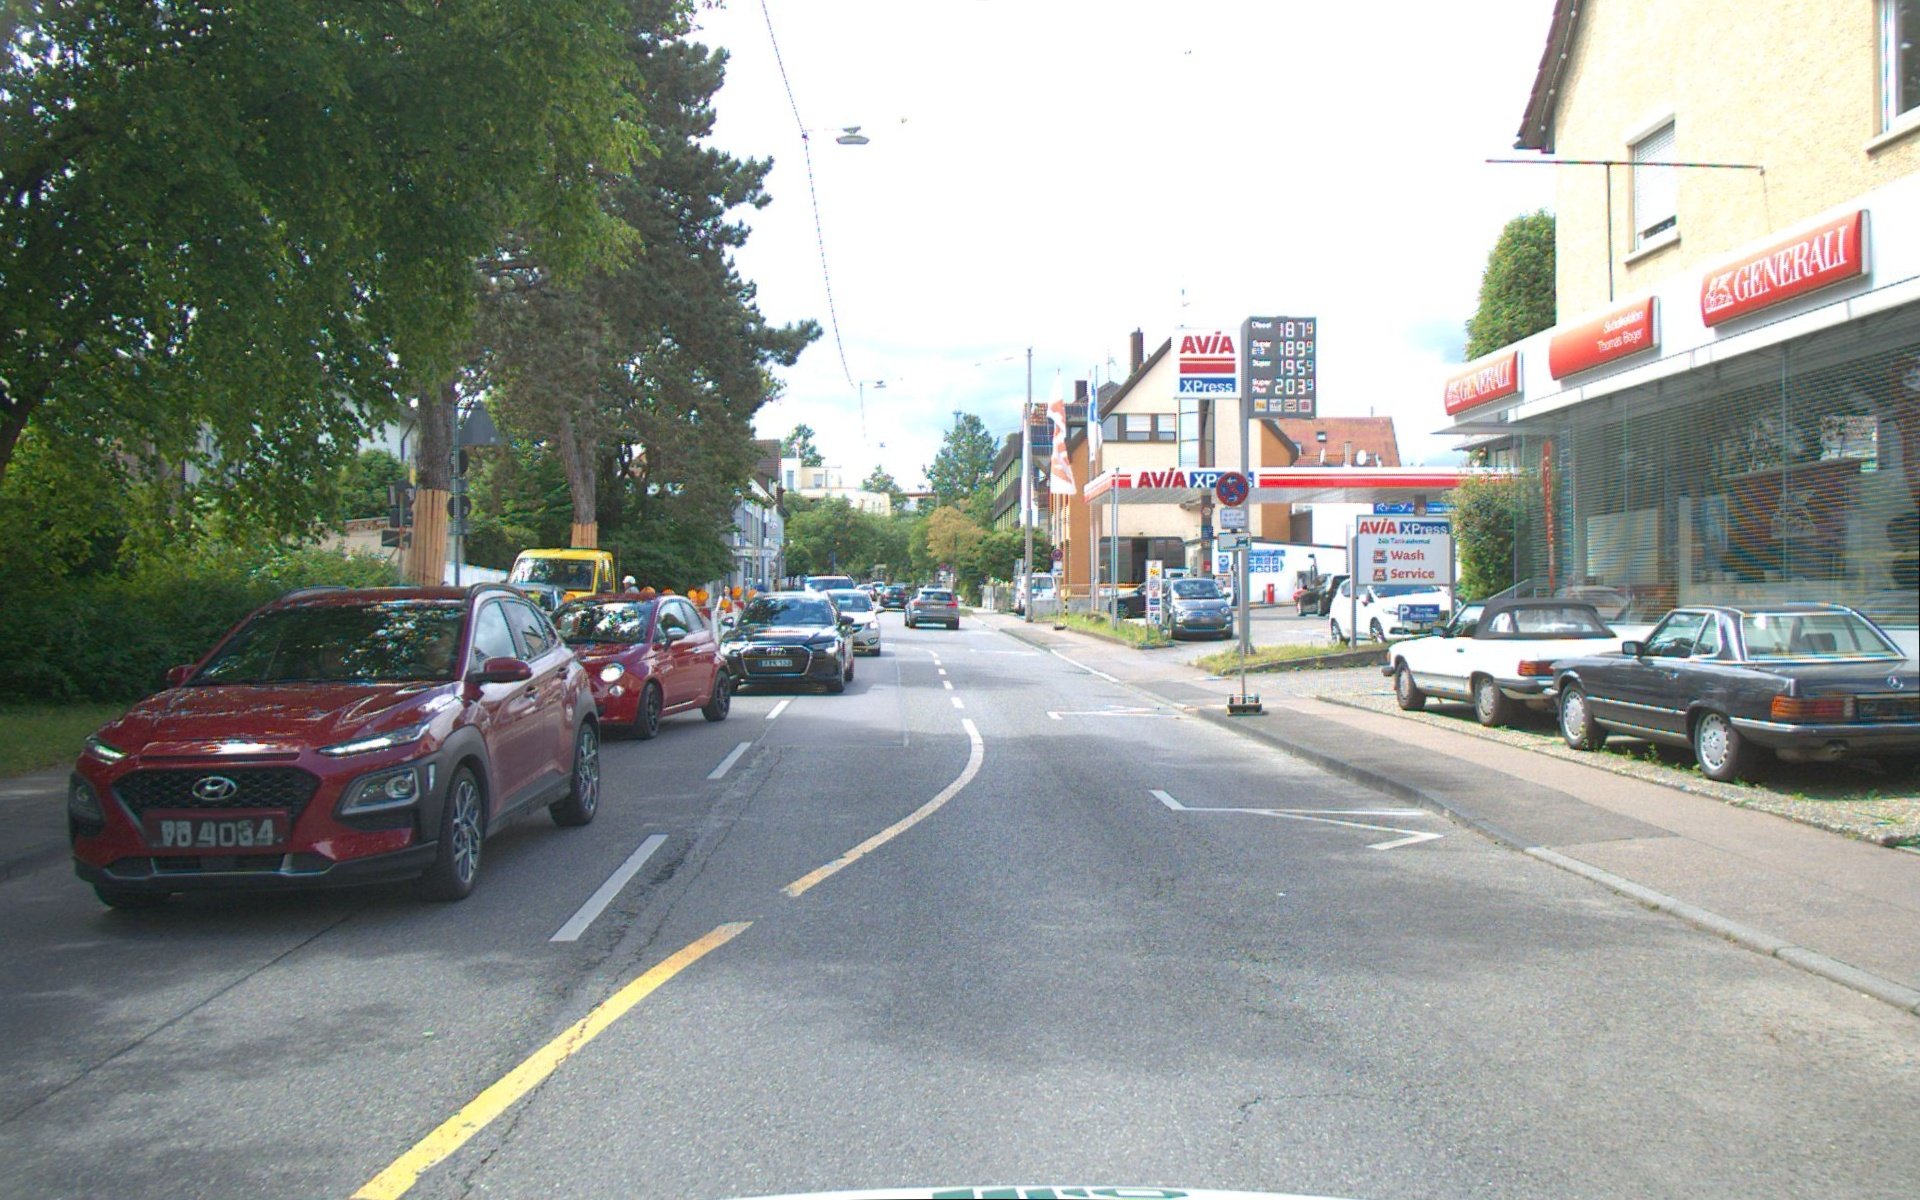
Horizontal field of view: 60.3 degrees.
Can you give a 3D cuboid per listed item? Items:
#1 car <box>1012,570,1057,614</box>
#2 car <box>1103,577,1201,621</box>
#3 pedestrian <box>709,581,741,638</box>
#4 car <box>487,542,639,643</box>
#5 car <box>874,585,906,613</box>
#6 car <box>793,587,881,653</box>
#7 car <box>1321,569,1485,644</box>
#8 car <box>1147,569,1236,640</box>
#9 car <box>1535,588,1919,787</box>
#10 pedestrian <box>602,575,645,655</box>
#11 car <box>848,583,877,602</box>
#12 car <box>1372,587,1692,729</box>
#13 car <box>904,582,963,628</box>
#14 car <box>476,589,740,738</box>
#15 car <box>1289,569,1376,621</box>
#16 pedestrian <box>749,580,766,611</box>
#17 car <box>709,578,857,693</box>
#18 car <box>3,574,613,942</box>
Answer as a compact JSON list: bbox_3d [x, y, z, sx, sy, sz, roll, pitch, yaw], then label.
[{"bbox_3d":[3.657,-0.373,81.833,1.953,2.049,3.999,1,-1,-1],"label":"car"},{"bbox_3d":[7.844,-0.043,67.640,3.902,1.713,1.791,1,-1,7],"label":"car"},{"bbox_3d":[-6.142,0.246,43.223,0.690,1.465,0.714,1,-1,1],"label":"pedestrian"},{"bbox_3d":[-8.537,-0.128,36.041,2.102,2.015,4.930,1,-1,0],"label":"car"},{"bbox_3d":[-4.110,-0.062,98.144,1.779,1.527,4.266,2,0,-1],"label":"car"},{"bbox_3d":[-2.805,0.470,38.478,1.920,1.418,4.293,1,-1,-3],"label":"car"},{"bbox_3d":[8.688,0.110,32.786,1.806,1.379,4.063,0,0,-6],"label":"car"},{"bbox_3d":[5.942,0.097,42.819,1.747,1.663,3.692,-3,0,1],"label":"car"},{"bbox_3d":[6.390,0.591,13.412,1.690,1.339,4.263,1,0,-5],"label":"car"},{"bbox_3d":[-6.319,0.283,31.081,0.697,1.465,0.706,1,-1,-5],"label":"pedestrian"},{"bbox_3d":[-7.985,-0.602,135.881,2.068,1.527,4.267,0,0,0],"label":"car"},{"bbox_3d":[6.176,0.555,18.456,1.689,1.387,4.479,0,0,-5],"label":"car"},{"bbox_3d":[-1.037,0.159,61.749,1.937,1.539,4.264,4,0,-4],"label":"car"},{"bbox_3d":[-3.726,0.646,18.091,1.655,1.450,3.440,1,-1,10],"label":"car"},{"bbox_3d":[12.806,-0.168,57.017,1.750,1.663,3.686,-3,0,-7],"label":"car"},{"bbox_3d":[-9.805,-0.226,80.021,0.690,1.465,0.714,1,-1,1],"label":"pedestrian"},{"bbox_3d":[-2.632,0.531,25.551,1.890,1.605,4.294,1,-1,-1],"label":"car"},{"bbox_3d":[-3.248,0.669,9.196,1.726,1.560,4.096,-1,0,0],"label":"car"}]
